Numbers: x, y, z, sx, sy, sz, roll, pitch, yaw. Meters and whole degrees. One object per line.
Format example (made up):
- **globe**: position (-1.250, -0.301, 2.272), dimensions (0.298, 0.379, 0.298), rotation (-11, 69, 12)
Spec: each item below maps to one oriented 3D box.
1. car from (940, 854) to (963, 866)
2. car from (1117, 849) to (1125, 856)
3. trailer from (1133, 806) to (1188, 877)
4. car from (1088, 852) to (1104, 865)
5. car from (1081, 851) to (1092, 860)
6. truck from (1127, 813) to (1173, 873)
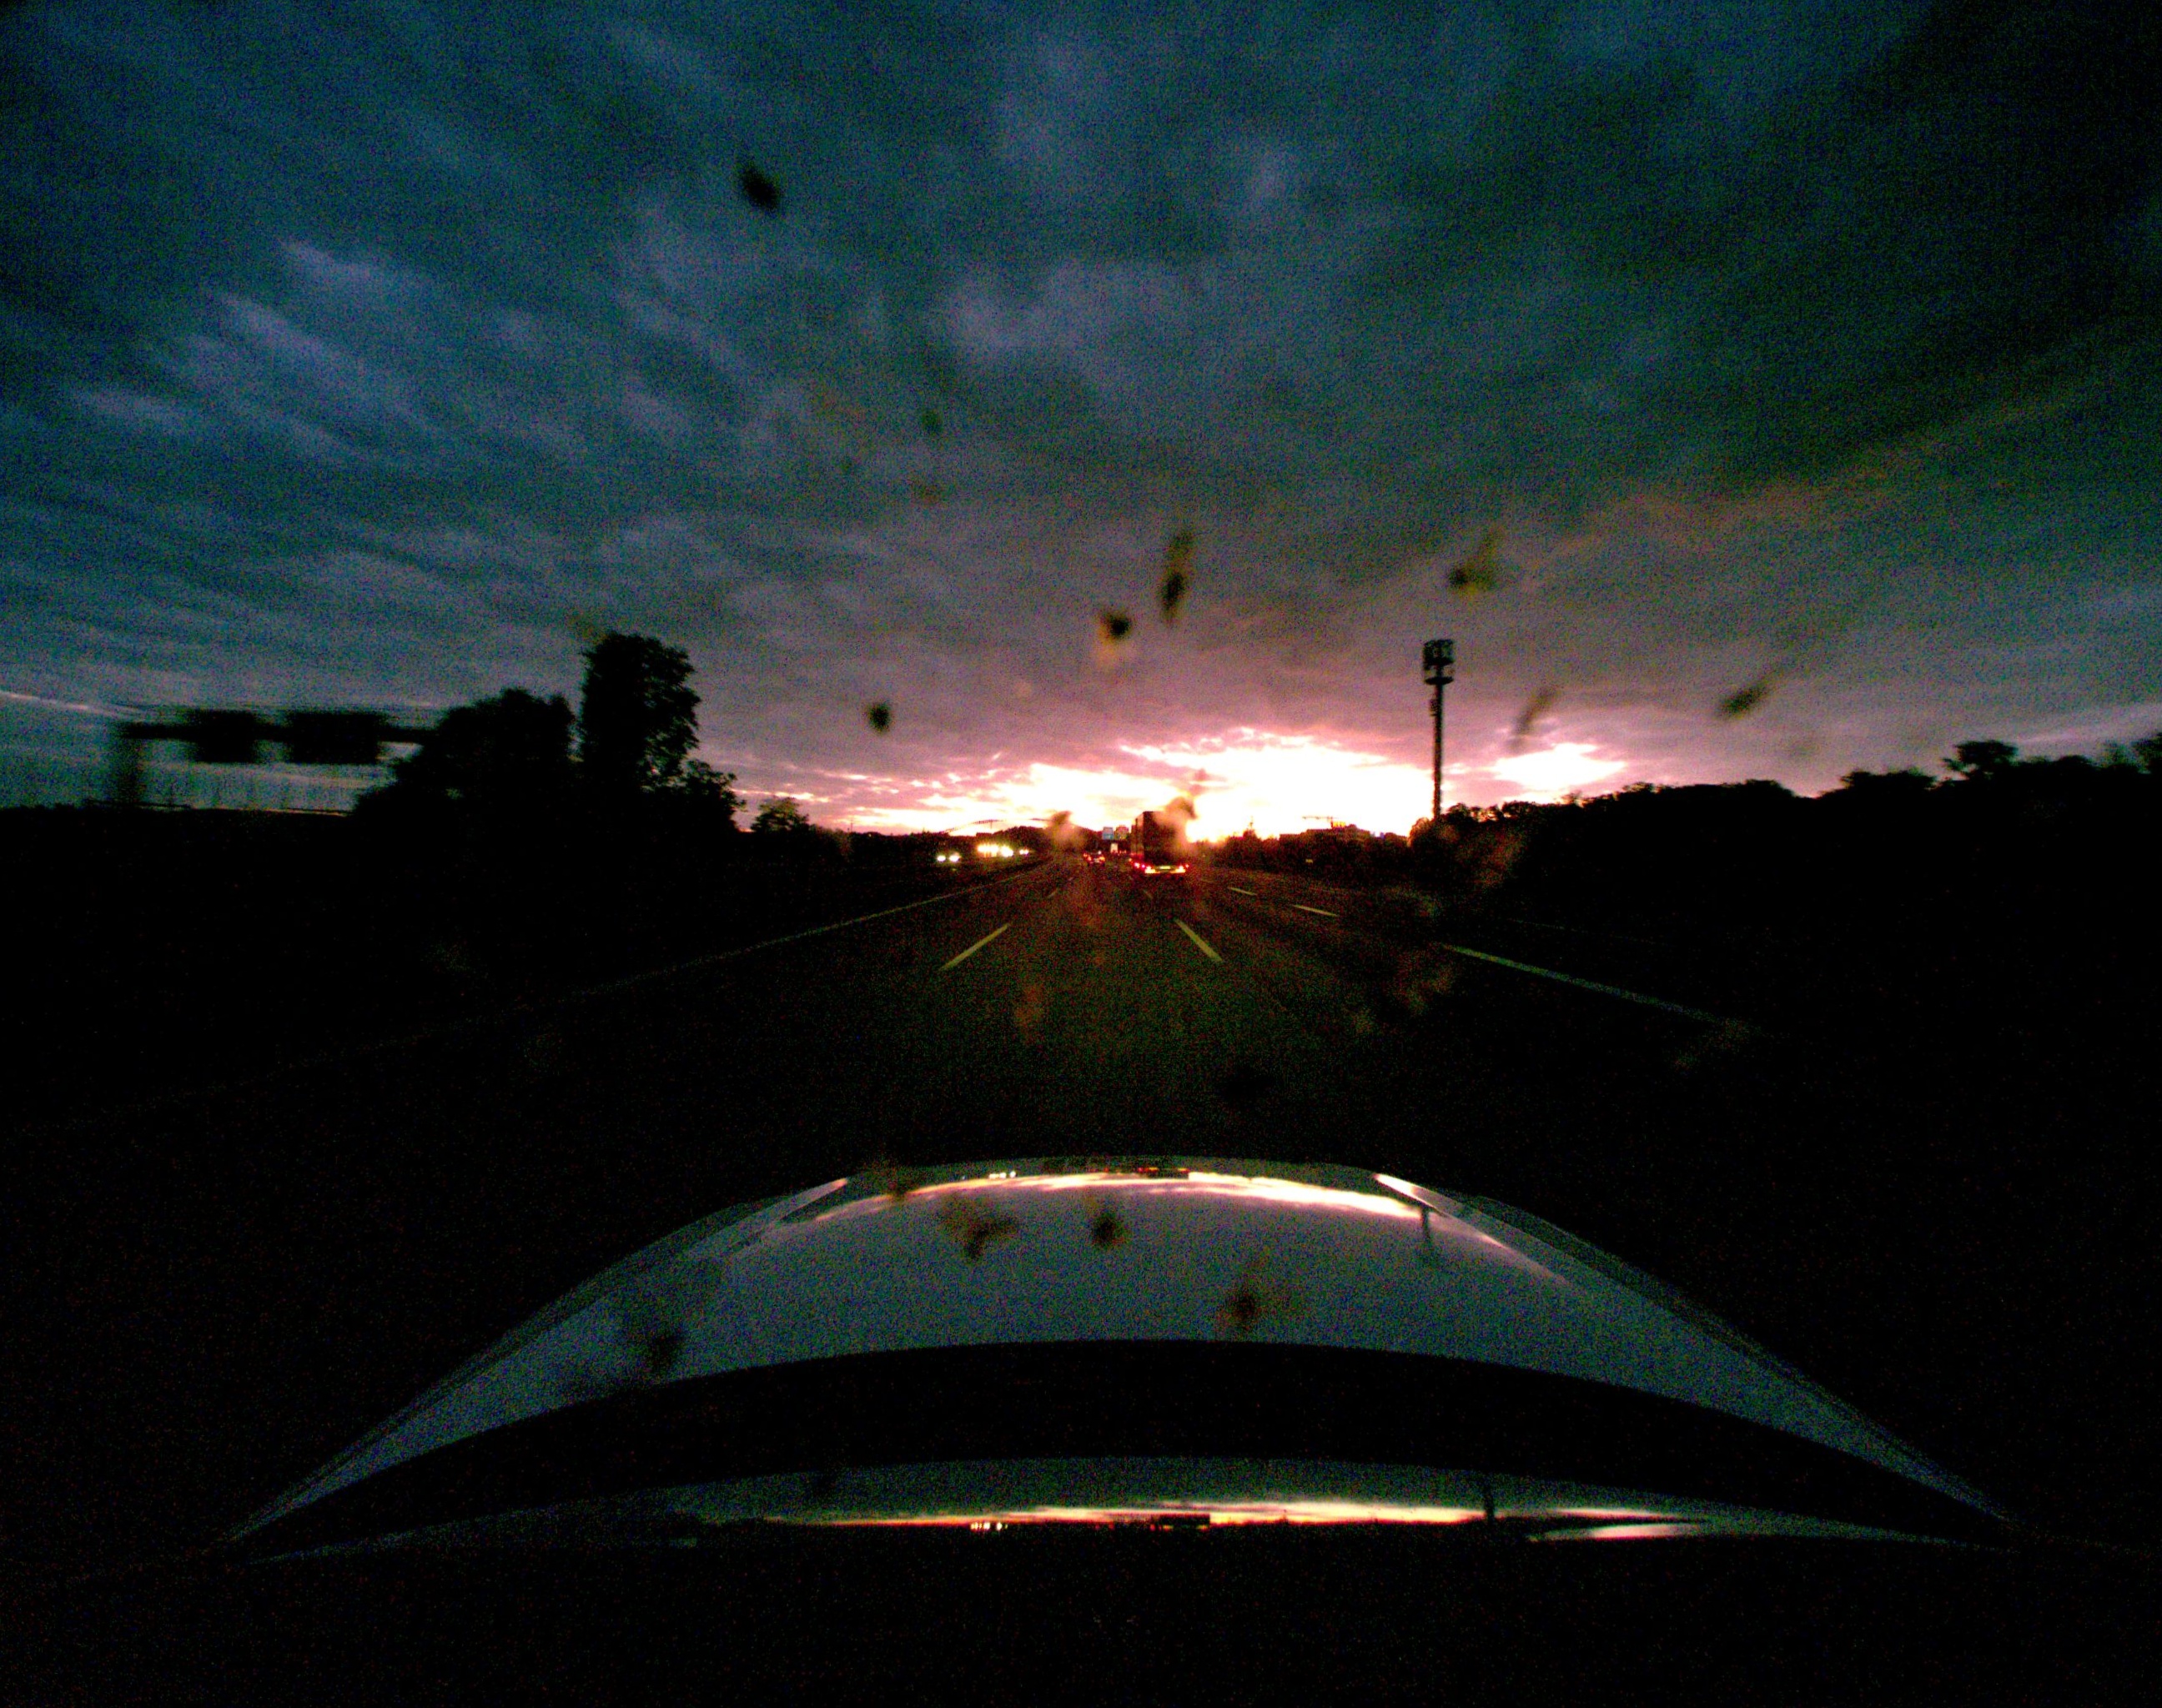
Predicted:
- **car**: position (-15.395, 0.651, 96.878), dimensions (1.987, 1.358, 4.864), rotation (0, 0, 0)
- **car**: position (11.321, -0.460, 229.589), dimensions (1.986, 1.717, 4.001), rotation (1, -2, 1)
- **trailer**: position (4.862, -0.741, 51.163), dimensions (2.712, 4.071, 8.832), rotation (0, 0, 1)
- **car**: position (1.643, 0.497, 88.755), dimensions (1.684, 1.401, 3.407), rotation (0, -1, 0)
- **car**: position (0.957, 0.325, 140.678), dimensions (1.681, 1.401, 3.413), rotation (-1, -2, 6)
- **truck**: position (4.991, -0.797, 60.829), dimensions (2.681, 4.071, 10.521), rotation (0, 0, 1)
